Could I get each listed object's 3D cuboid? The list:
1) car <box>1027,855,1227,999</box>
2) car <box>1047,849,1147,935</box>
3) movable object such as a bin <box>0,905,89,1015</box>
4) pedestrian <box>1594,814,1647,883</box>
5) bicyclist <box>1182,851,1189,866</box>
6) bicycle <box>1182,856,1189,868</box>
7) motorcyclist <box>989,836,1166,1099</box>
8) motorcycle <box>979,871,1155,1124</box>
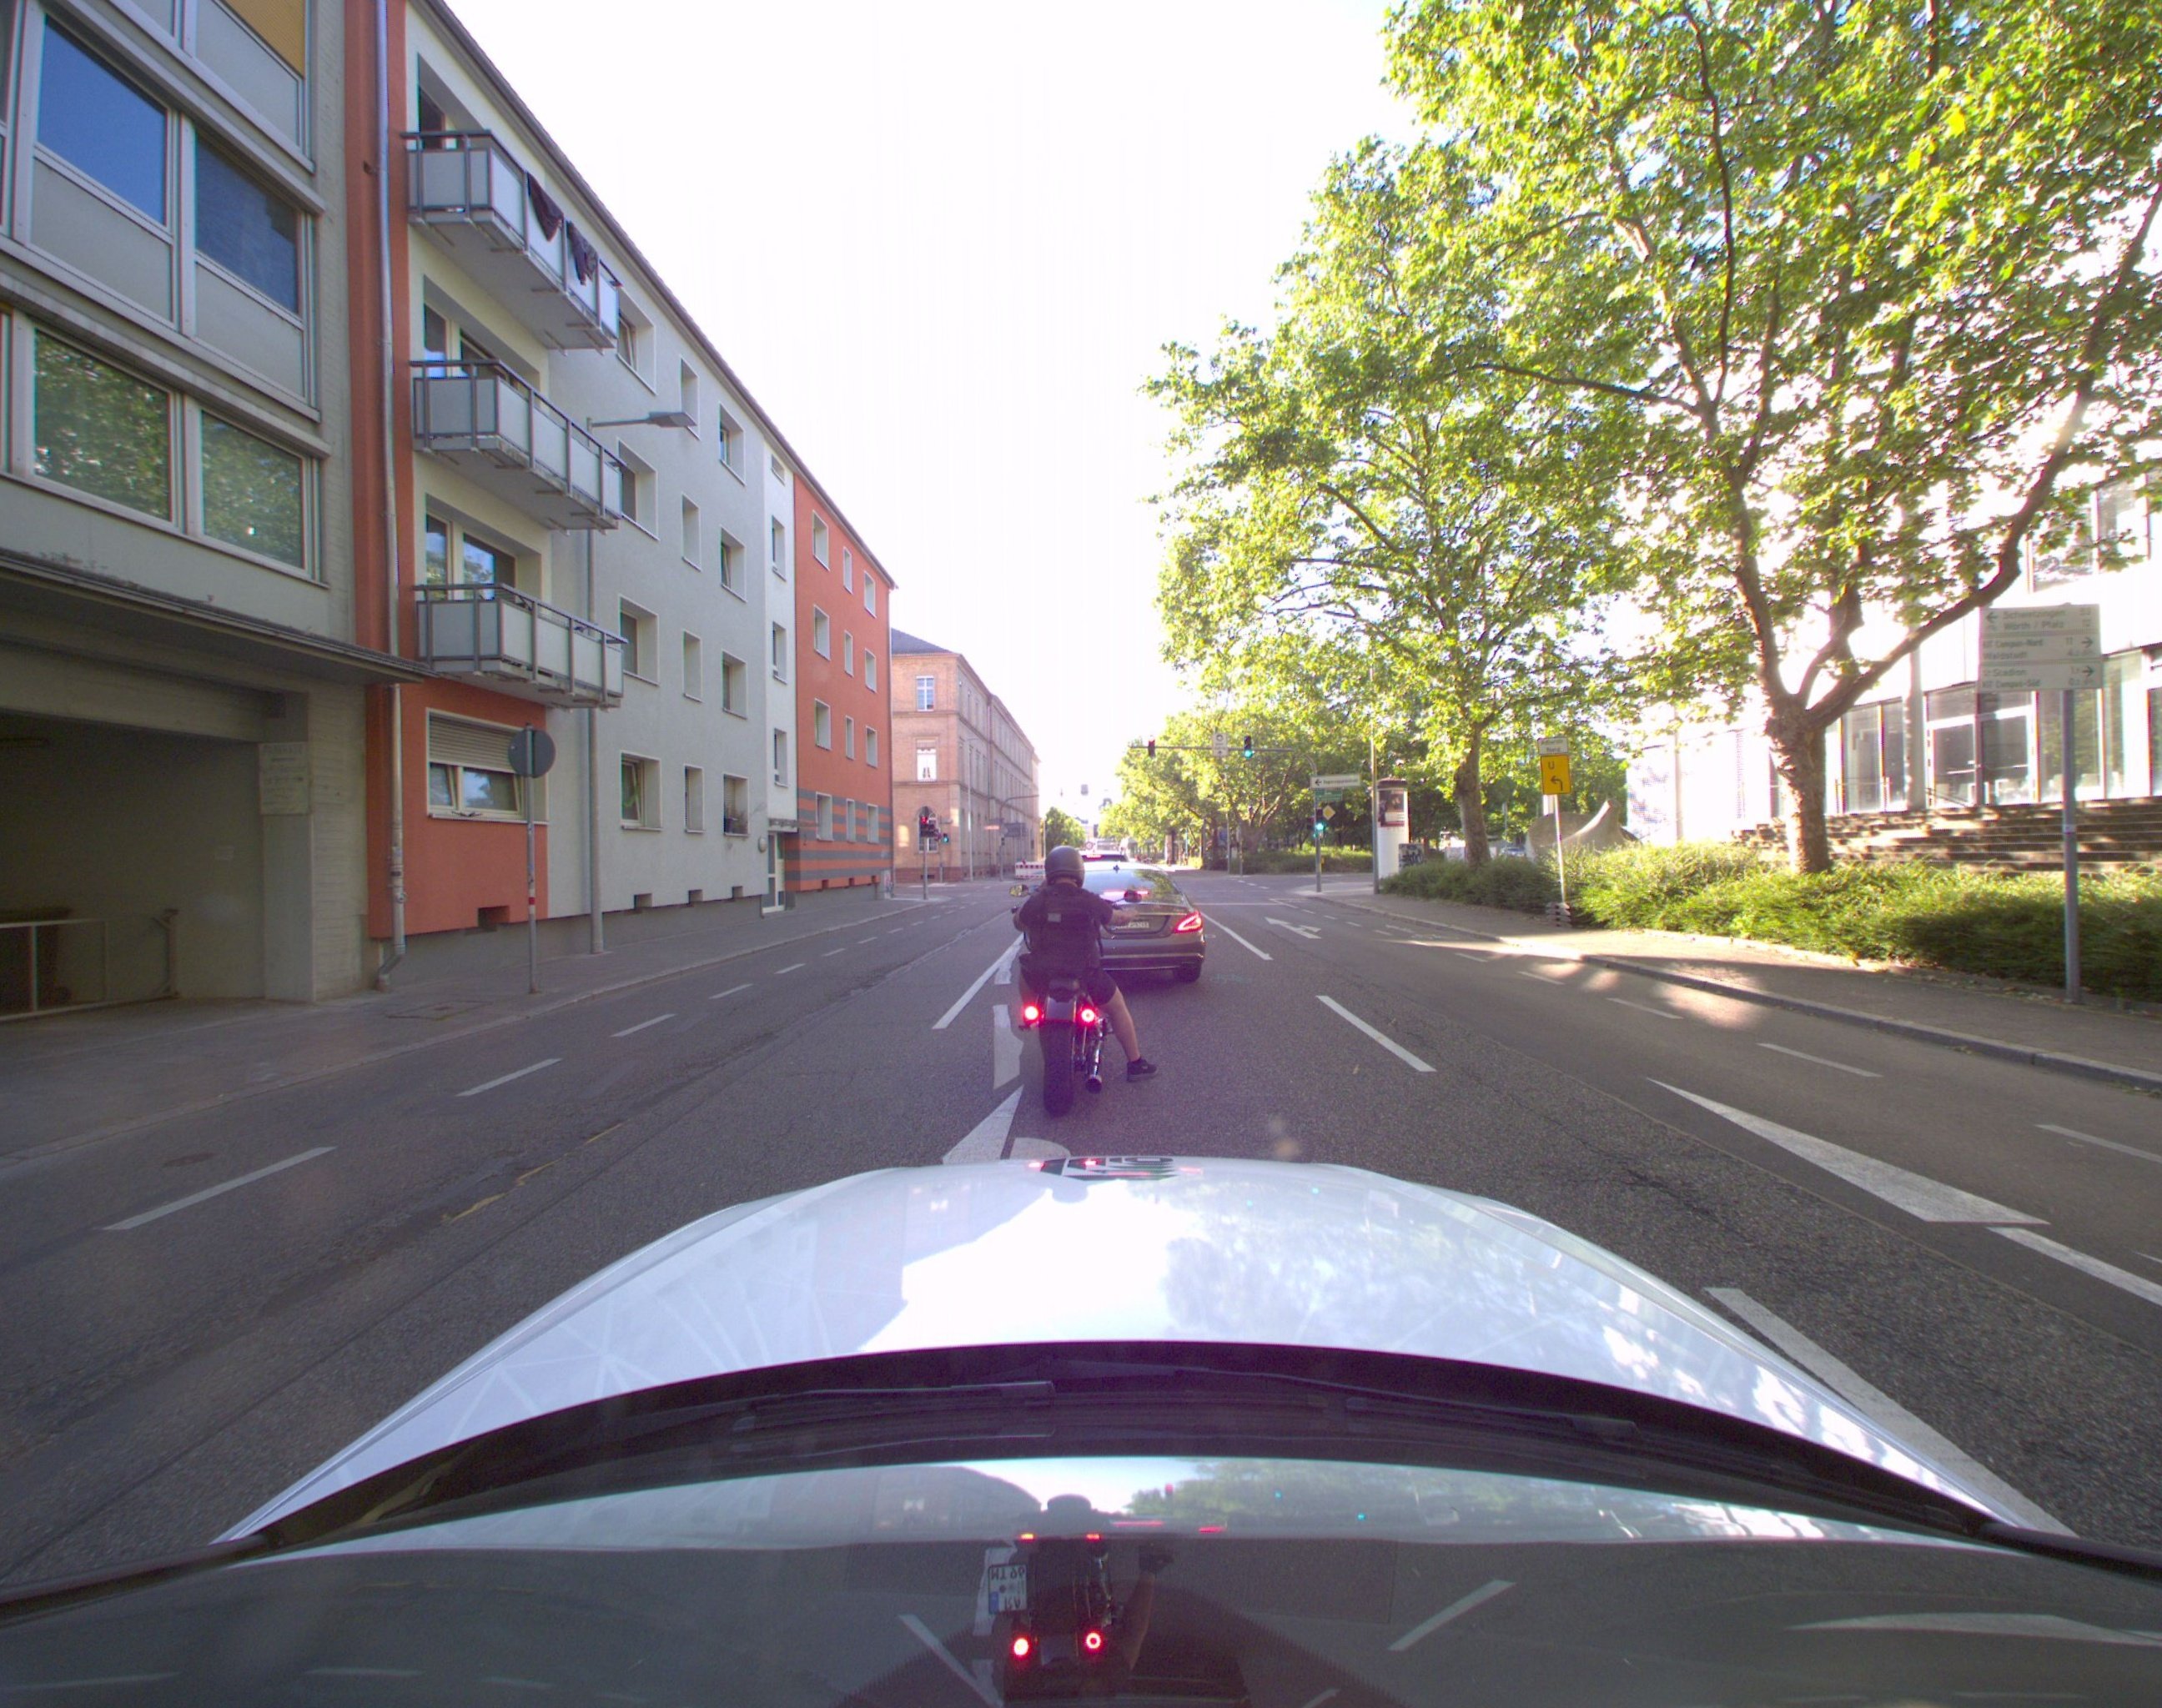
[{"bbox_3d":[0.353,0.761,10.668,1.900,1.441,4.278,-1,0,-7],"label":"car"},{"bbox_3d":[0.267,0.699,16.881,1.808,1.536,3.847,-1,0,-1],"label":"car"},{"bbox_3d":[-11.326,1.105,8.633,0.736,1.074,0.716,0,-1,2],"label":"movable object such as a bin"},{"bbox_3d":[14.159,-0.140,21.404,0.781,1.781,0.862,-1,0,0],"label":"pedestrian"},{"bbox_3d":[11.112,0.451,86.496,0.713,1.582,0.937,0,-1,6],"label":"bicyclist"},{"bbox_3d":[11.103,0.851,86.483,0.712,1.172,2.179,0,-1,6],"label":"bicycle"},{"bbox_3d":[-0.007,0.691,5.376,1.057,1.582,0.908,0,-1,1],"label":"motorcyclist"},{"bbox_3d":[-0.042,0.816,5.646,0.958,1.357,2.321,0,-1,2],"label":"motorcycle"}]
